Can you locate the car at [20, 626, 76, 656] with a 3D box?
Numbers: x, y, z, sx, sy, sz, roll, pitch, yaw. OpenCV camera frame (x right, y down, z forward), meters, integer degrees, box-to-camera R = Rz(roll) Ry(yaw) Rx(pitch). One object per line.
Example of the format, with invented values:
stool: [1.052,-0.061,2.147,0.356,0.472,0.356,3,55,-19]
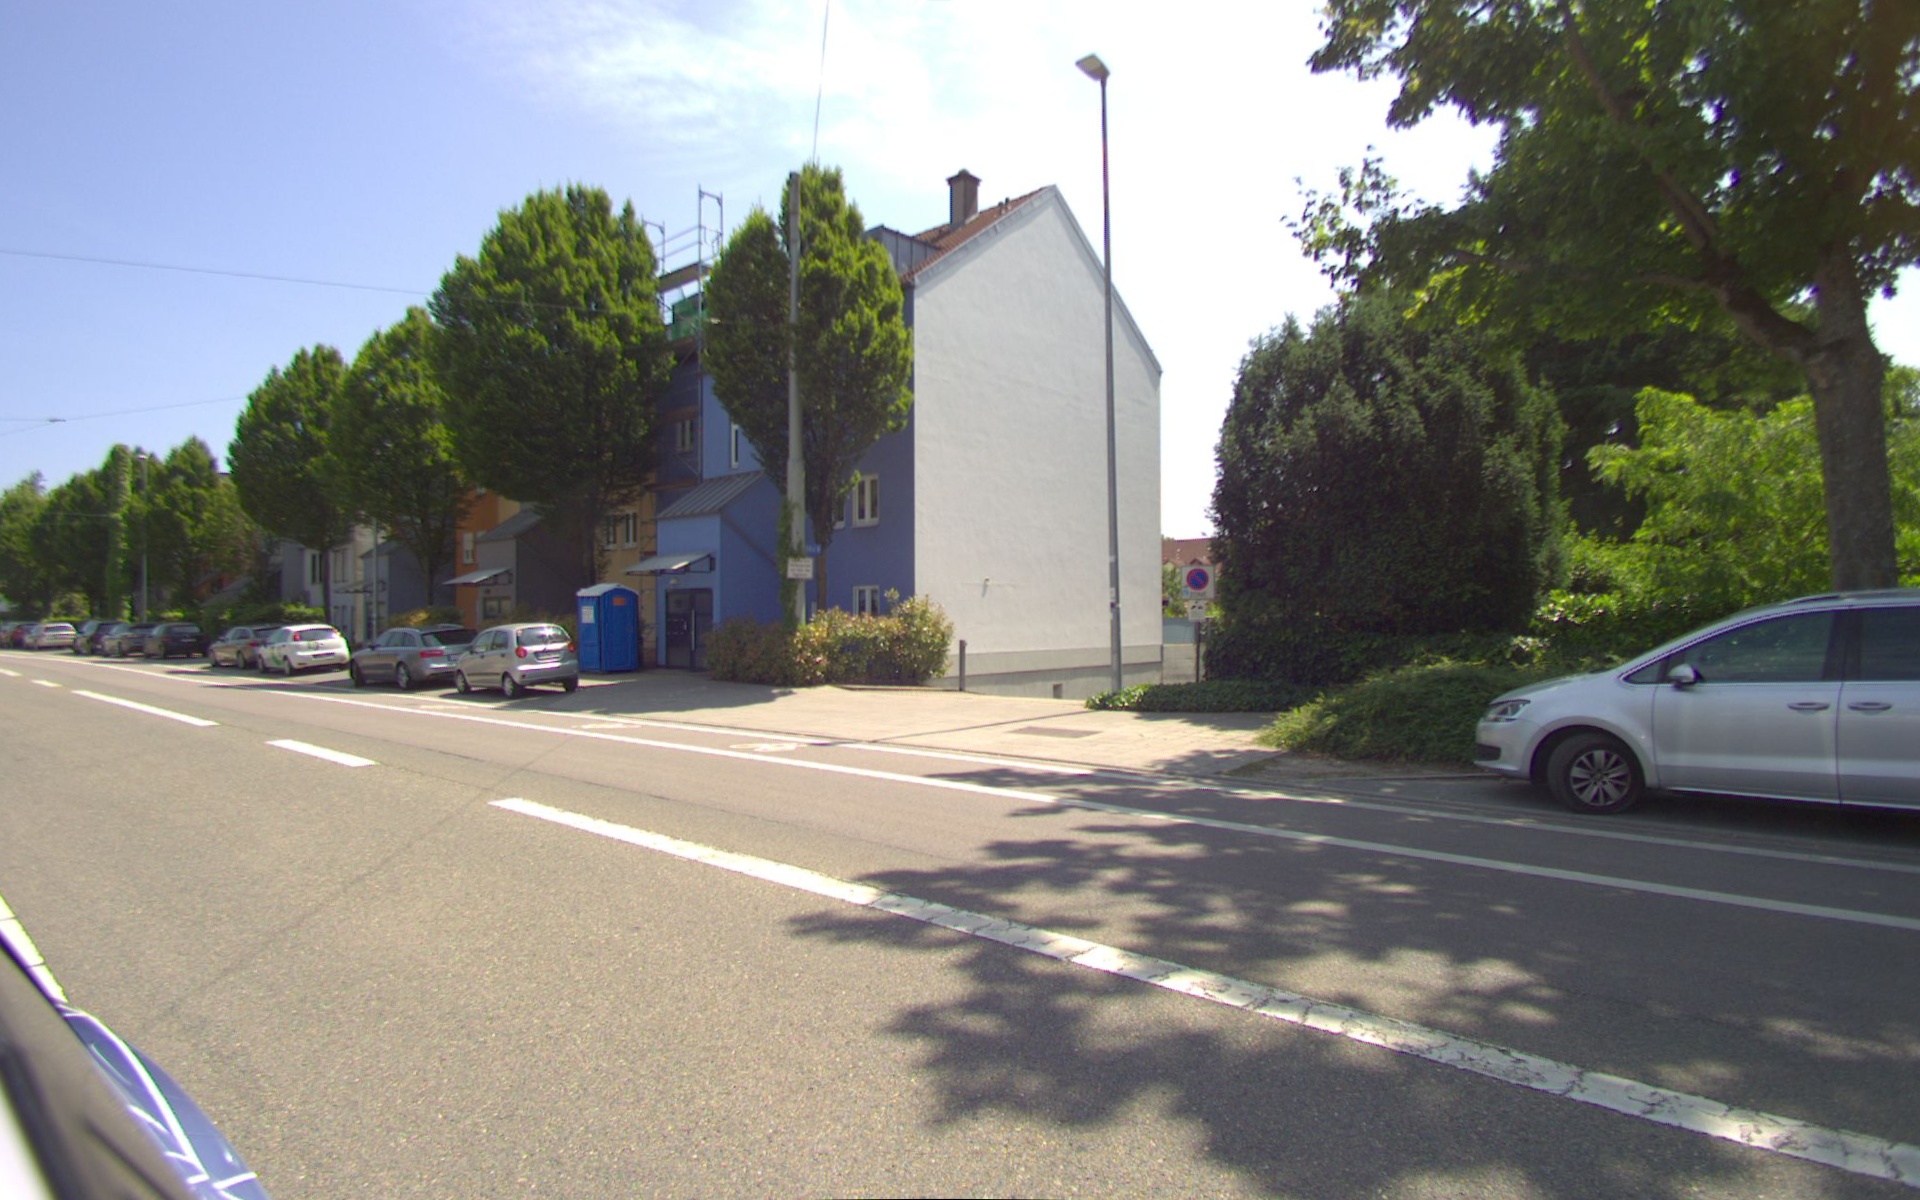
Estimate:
car: [-51.167,2.289,56.755,4.079,1.507,1.702,-1,2,40]

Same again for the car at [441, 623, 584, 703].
car: [-9.718,1.308,21.903,3.279,1.507,1.487,-1,2,40]

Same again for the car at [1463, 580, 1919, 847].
car: [6.505,0.723,7.416,4.687,1.701,1.949,-1,-1,43]

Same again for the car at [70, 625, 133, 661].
car: [-42.224,2.091,49.722,4.079,1.599,1.635,-1,2,40]

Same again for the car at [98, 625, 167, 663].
car: [-37.451,1.956,45.795,4.079,1.507,1.635,-1,2,40]

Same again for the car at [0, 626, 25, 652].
car: [-59.759,2.432,62.959,3.467,1.507,1.842,-1,2,40]

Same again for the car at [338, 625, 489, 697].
car: [-13.626,1.445,25.111,4.635,1.507,1.659,-1,2,40]

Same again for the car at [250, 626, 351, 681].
car: [-20.870,1.653,31.977,3.646,1.507,1.635,-1,2,40]

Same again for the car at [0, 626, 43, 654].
car: [-55.957,2.364,60.023,3.467,1.507,1.842,-1,2,40]

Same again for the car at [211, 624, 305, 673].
car: [-24.681,1.665,35.518,4.079,1.507,1.635,-1,2,40]

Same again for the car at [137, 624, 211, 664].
car: [-33.479,1.826,43.077,4.079,1.507,1.635,-1,2,40]
